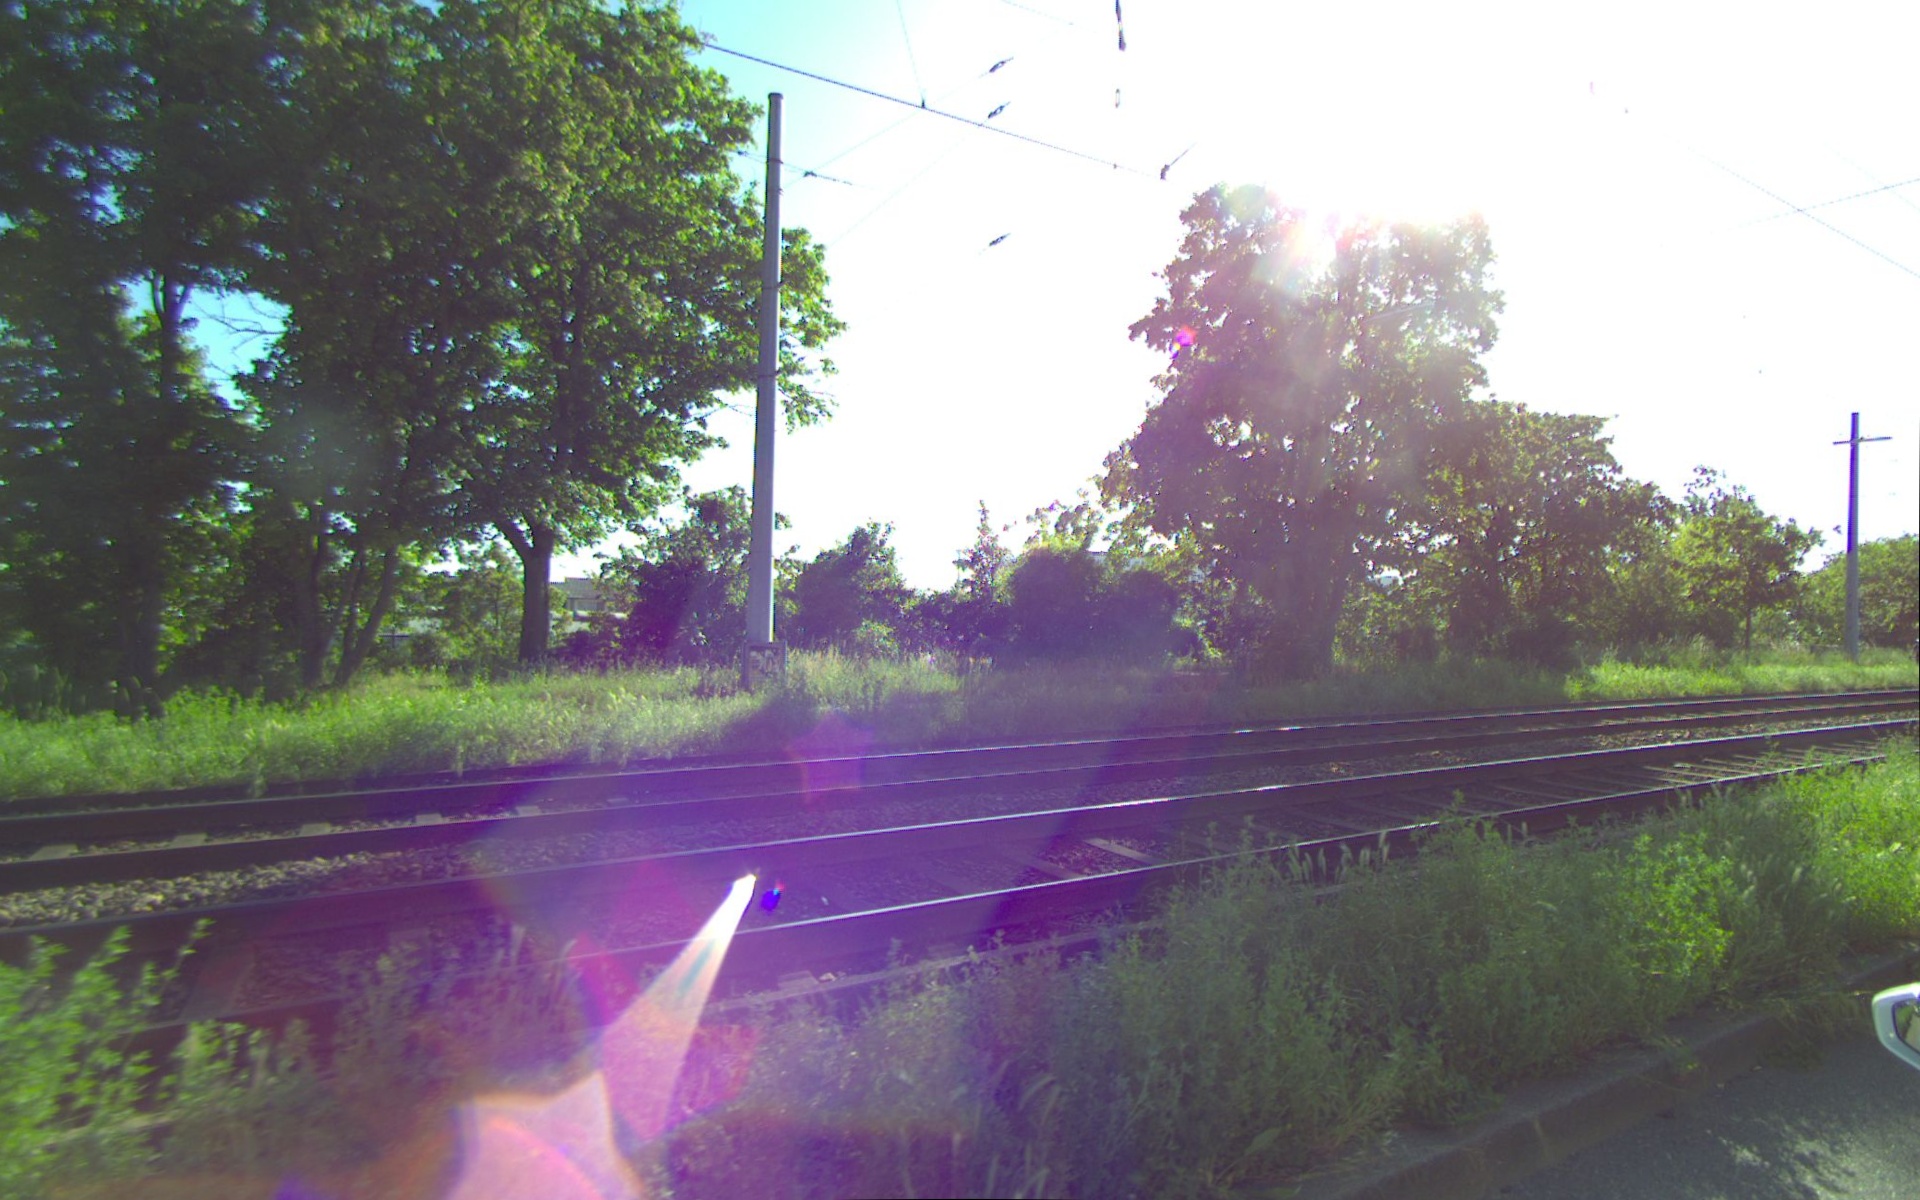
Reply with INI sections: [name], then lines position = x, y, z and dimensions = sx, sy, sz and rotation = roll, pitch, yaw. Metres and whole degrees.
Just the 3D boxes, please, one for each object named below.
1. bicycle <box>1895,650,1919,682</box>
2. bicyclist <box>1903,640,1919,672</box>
[bicycle]
position = 40.234, 2.763, 42.263
dimensions = 2.398, 1.278, 0.587
rotation = 1, 1, -30
[bicyclist]
position = 40.284, 2.359, 42.273
dimensions = 0.975, 1.328, 0.580
rotation = 1, 1, -30
